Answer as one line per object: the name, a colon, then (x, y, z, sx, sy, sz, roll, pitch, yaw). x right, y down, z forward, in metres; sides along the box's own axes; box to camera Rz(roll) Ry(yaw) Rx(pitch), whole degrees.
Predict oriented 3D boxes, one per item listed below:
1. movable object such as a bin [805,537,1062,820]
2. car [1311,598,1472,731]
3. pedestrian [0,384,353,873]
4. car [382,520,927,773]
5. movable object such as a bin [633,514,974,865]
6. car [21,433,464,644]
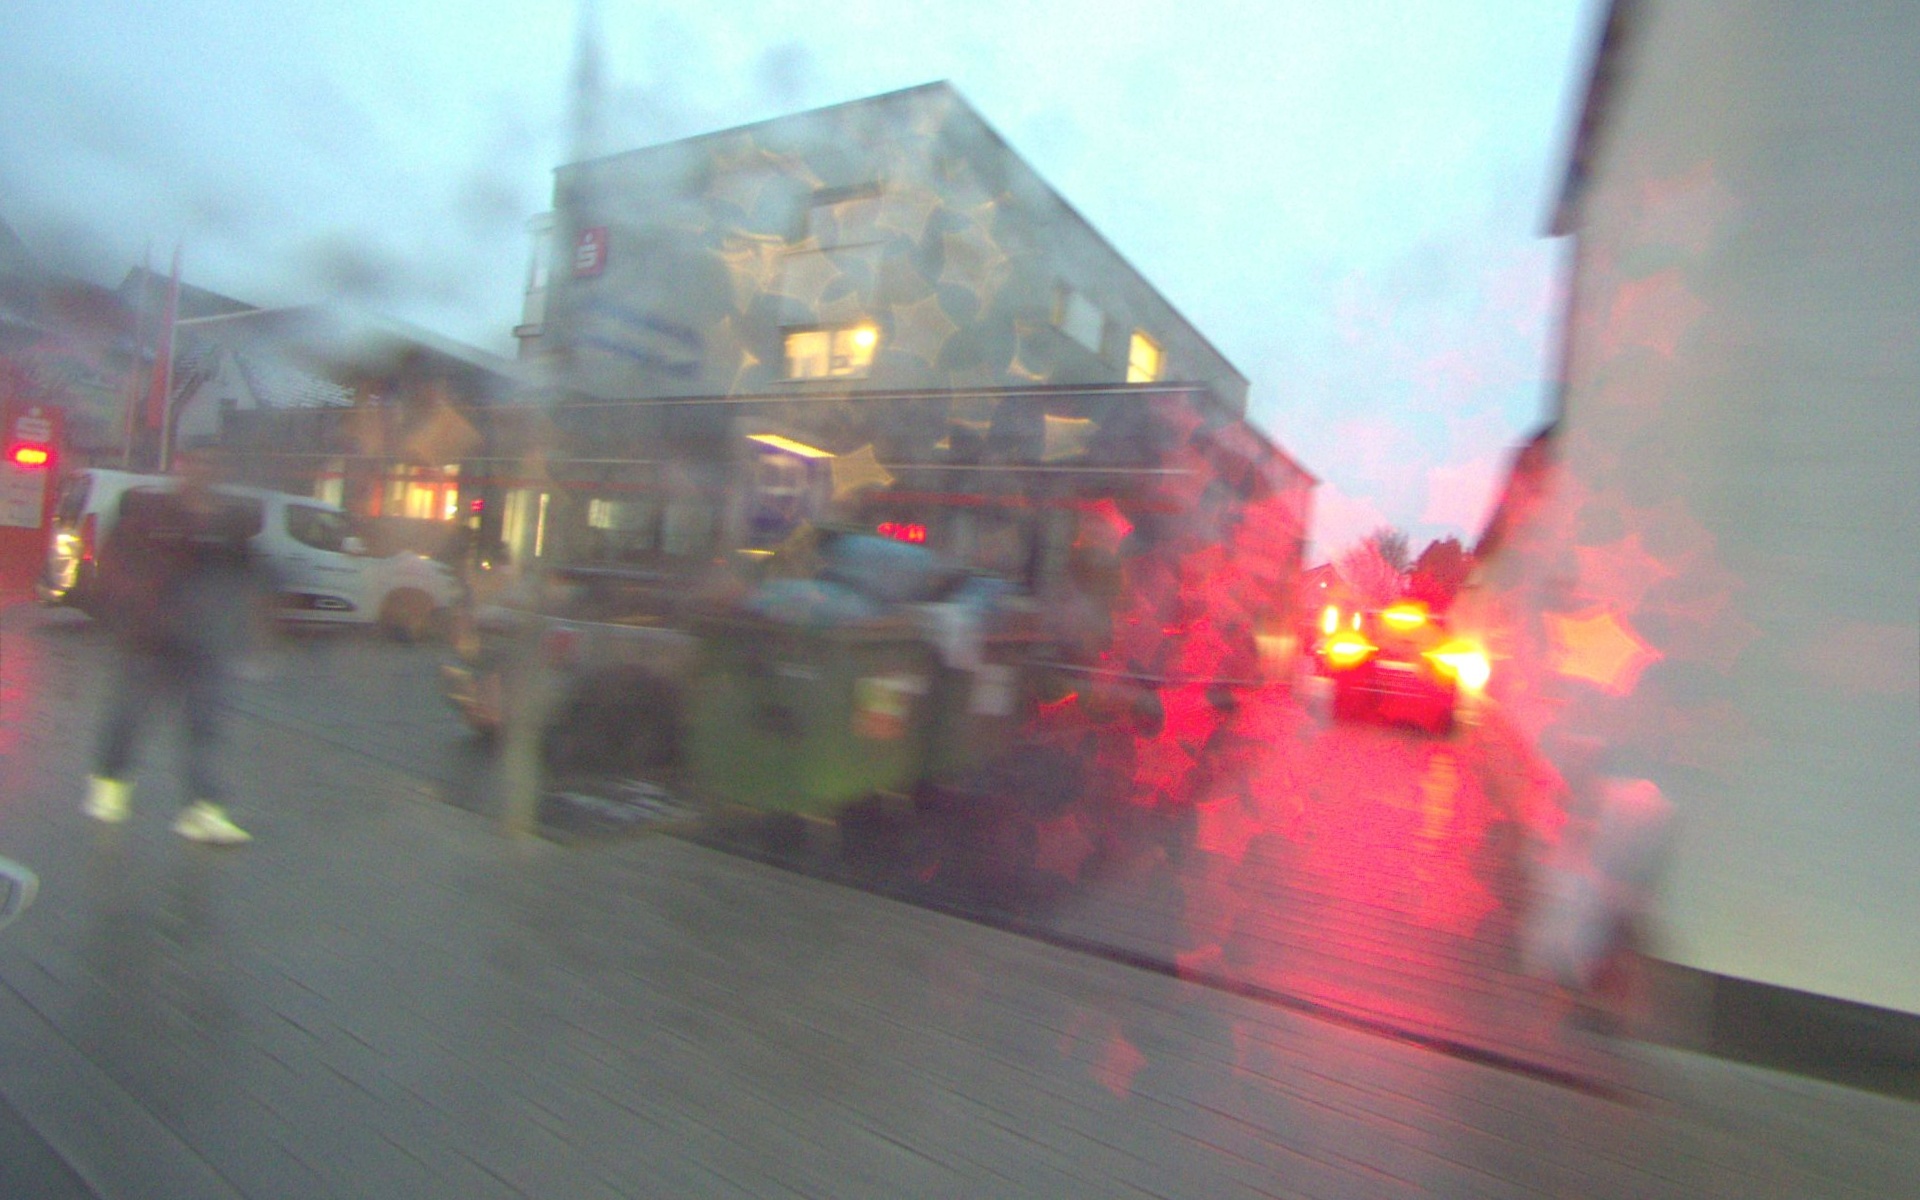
movable object such as a bin: (-0.151, 0.493, 7.042, 1.165, 1.666, 1.287, 7, 2, 28)
car: (6.879, 0.936, 16.015, 1.964, 1.696, 3.994, 5, 1, 25)
pedestrian: (-3.572, 0.079, 4.571, 0.988, 1.915, 0.967, 7, 4, 28)
car: (-2.246, 0.393, 8.406, 1.882, 1.504, 3.990, 6, -1, 33)
movable object such as a bin: (-0.868, 0.450, 5.880, 1.240, 1.665, 1.394, 7, 2, 28)
car: (-8.843, -0.655, 12.689, 1.971, 2.076, 4.086, 7, 1, 39)
